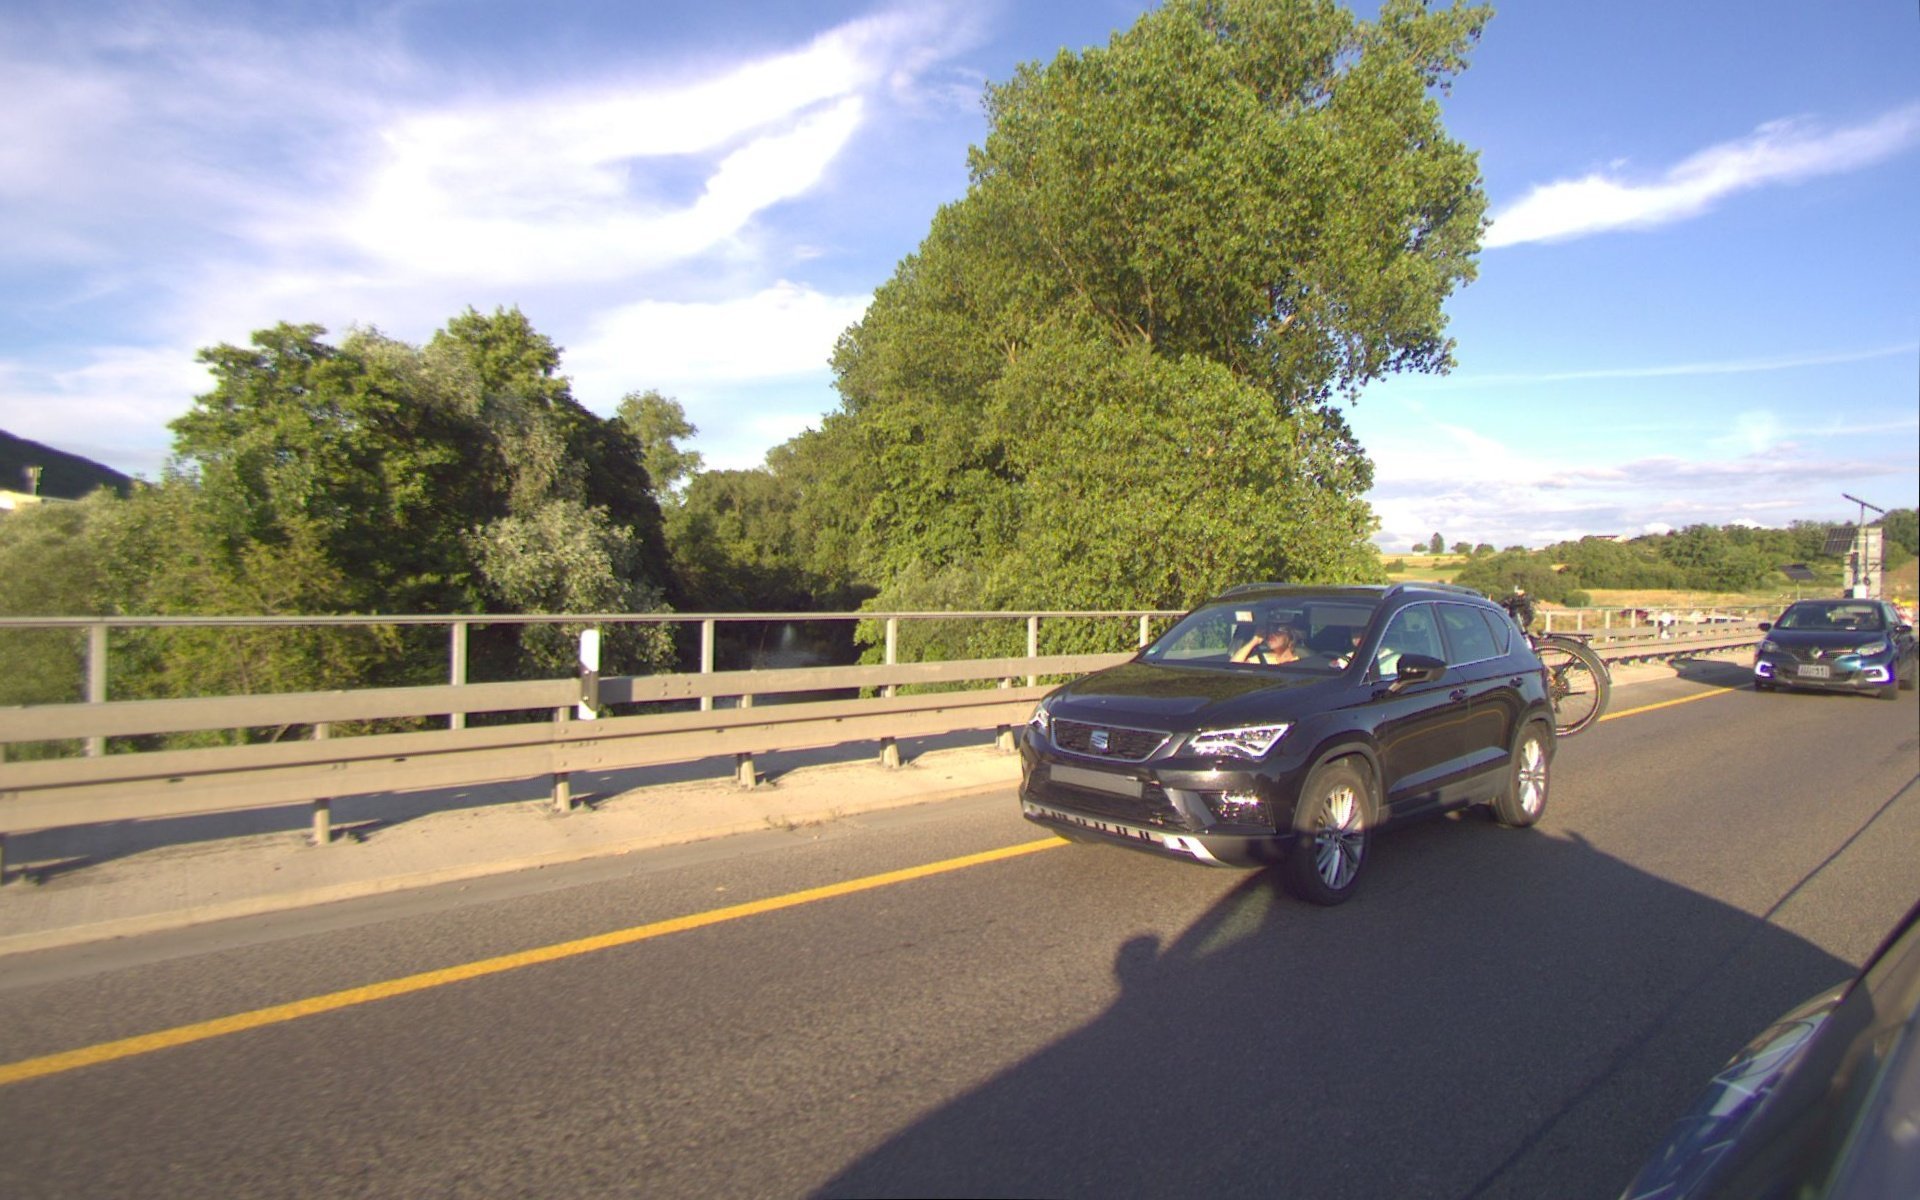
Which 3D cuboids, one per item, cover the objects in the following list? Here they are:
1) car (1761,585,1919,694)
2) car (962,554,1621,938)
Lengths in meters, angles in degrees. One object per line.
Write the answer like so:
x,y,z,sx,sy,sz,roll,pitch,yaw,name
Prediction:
14.980,0.600,16.974,4.063,1.606,1.776,1,-1,-42,car
2.454,0.594,6.597,4.879,1.619,1.878,0,1,-41,car
